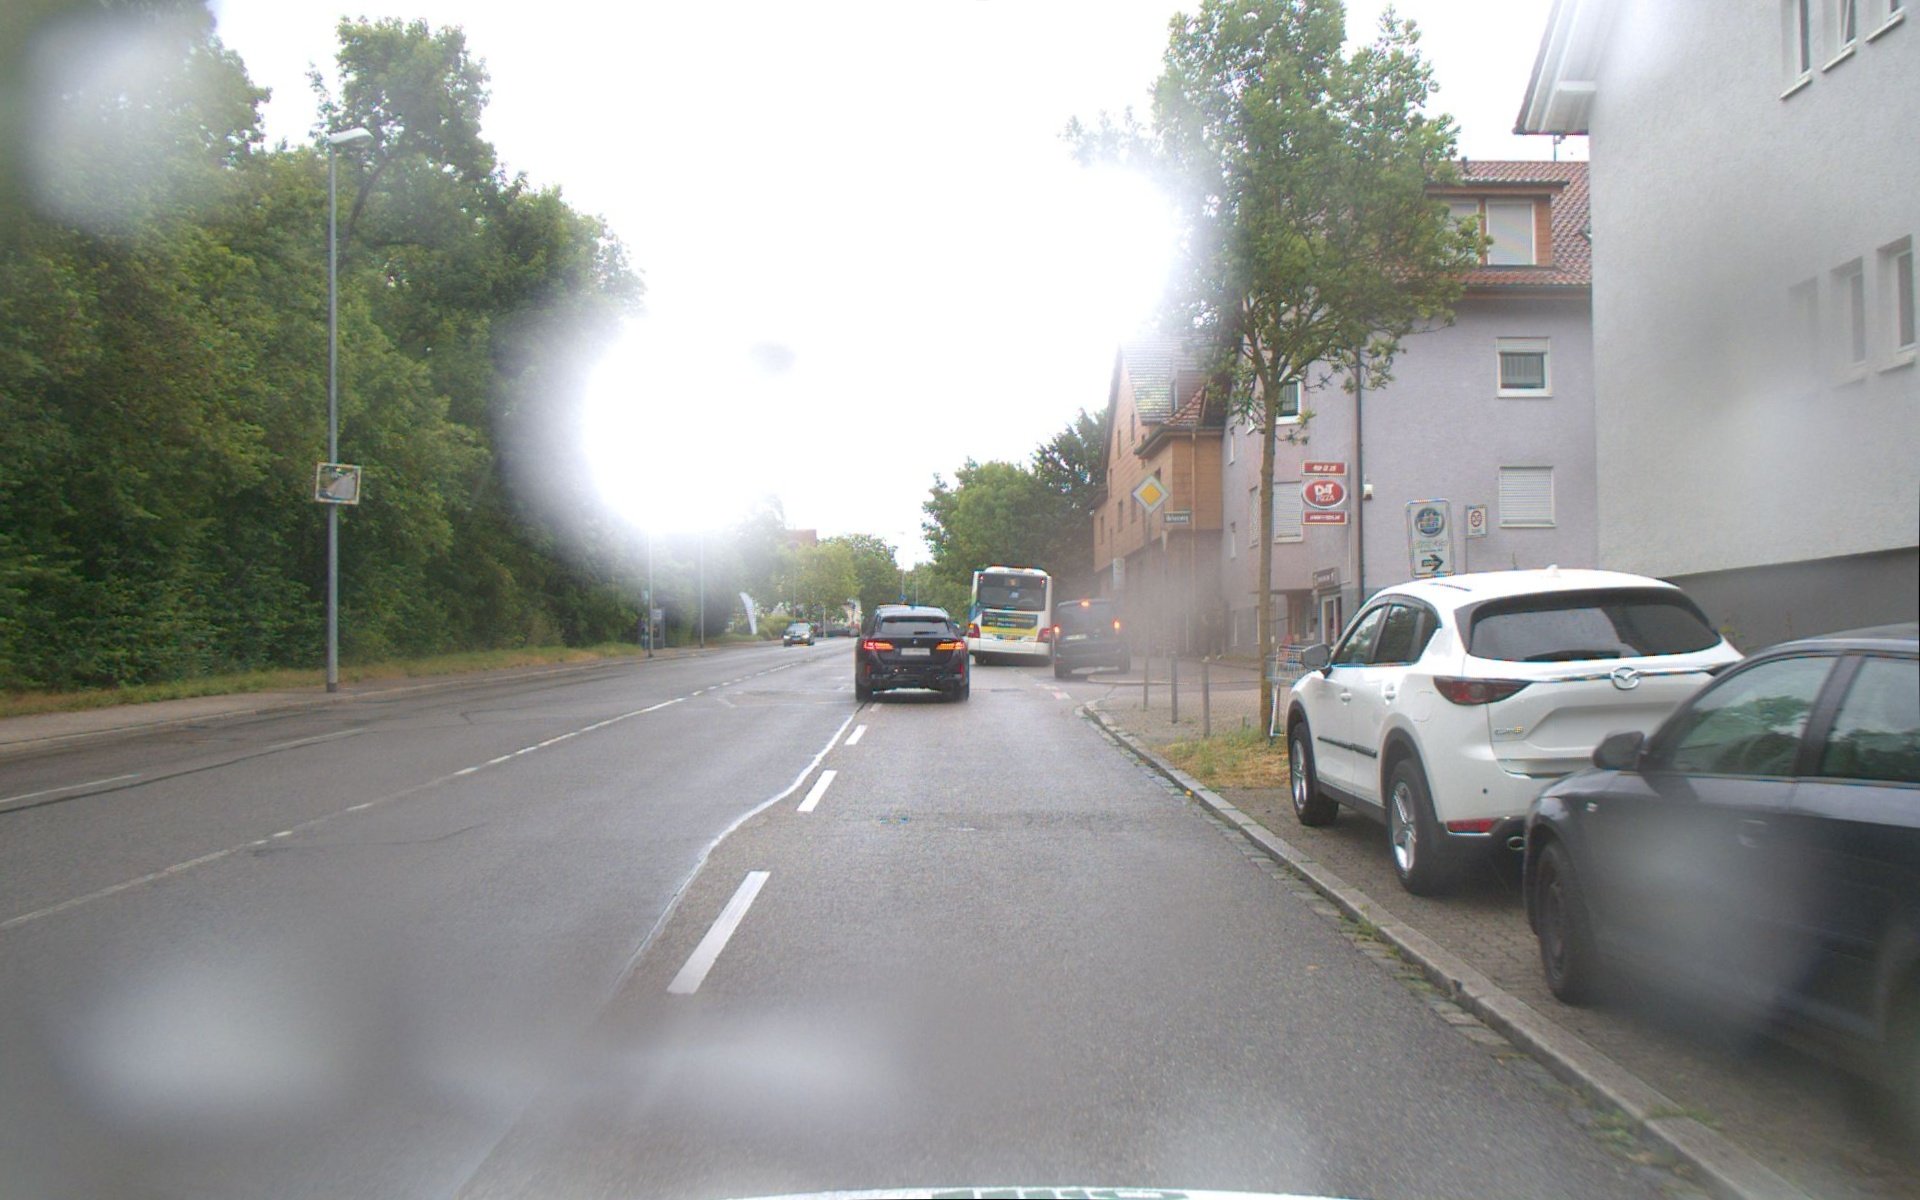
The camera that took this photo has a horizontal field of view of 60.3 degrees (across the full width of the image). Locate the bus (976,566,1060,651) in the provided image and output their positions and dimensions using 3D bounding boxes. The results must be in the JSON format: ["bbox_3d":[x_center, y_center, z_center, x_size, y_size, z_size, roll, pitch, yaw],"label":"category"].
[{"bbox_3d":[2.070,0.316,62.342,2.570,2.897,9.791,-2,0,-1],"label":"bus"}]

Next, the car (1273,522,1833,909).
[{"bbox_3d":[3.267,0.561,10.185,1.787,1.803,4.540,-1,0,0],"label":"car"}]

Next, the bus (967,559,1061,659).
[{"bbox_3d":[1.861,0.282,53.364,2.568,2.897,8.293,-2,0,5],"label":"bus"}]

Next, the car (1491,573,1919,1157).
[{"bbox_3d":[3.184,0.674,5.182,1.608,1.474,3.996,-1,-1,-2],"label":"car"}]

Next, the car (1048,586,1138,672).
[{"bbox_3d":[3.415,0.744,41.762,1.886,1.925,4.764,-4,-2,7],"label":"car"}]

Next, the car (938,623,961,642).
[{"bbox_3d":[-0.943,2.791,142.318,1.828,1.545,3.998,-1,0,-2],"label":"car"}]

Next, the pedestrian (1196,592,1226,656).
[{"bbox_3d":[7.191,0.691,47.346,0.676,1.785,0.669,-2,-1,-2],"label":"pedestrian"}]

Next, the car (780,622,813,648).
[{"bbox_3d":[-10.521,2.258,106.560,1.734,1.560,3.999,-2,0,-2],"label":"car"}]

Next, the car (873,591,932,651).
[{"bbox_3d":[-1.994,0.723,58.382,1.953,2.049,3.999,0,-1,-1],"label":"car"}]

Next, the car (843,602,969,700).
[{"bbox_3d":[-0.990,0.825,28.215,1.954,1.478,3.997,2,0,-4],"label":"car"}]
